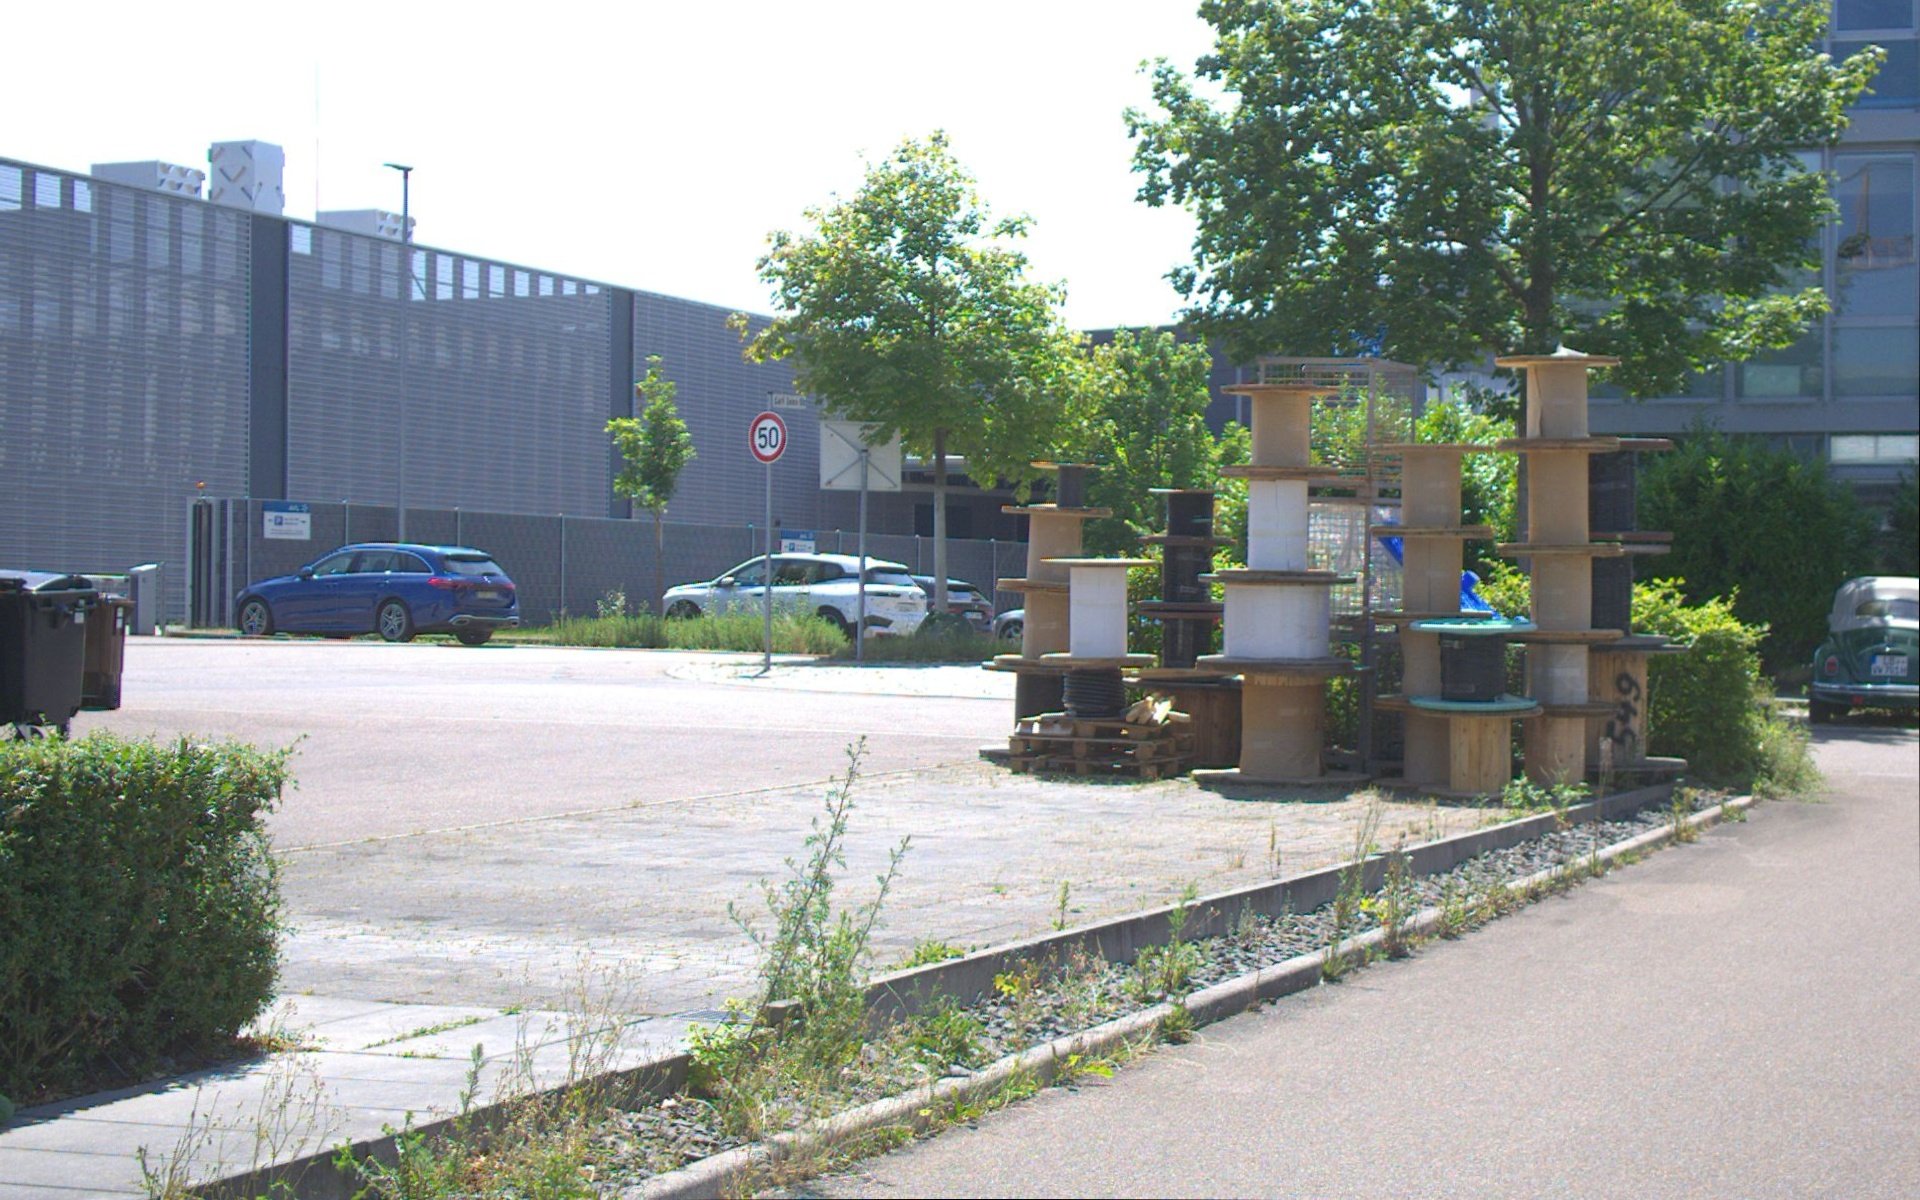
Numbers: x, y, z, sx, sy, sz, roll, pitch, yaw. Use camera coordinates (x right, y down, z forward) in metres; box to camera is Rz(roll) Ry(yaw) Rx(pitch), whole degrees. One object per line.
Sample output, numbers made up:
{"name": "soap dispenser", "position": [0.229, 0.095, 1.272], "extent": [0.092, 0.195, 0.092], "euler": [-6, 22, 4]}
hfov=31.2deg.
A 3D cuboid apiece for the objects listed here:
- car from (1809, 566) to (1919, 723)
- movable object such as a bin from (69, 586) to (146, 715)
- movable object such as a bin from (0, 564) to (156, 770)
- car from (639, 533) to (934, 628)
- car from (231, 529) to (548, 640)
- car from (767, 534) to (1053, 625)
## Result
{"name": "car", "position": [9.572, 0.416, 34.746], "extent": [1.543, 1.444, 3.650], "euler": [2, 2, 19]}
{"name": "movable object such as a bin", "position": [-6.904, 0.405, 27.851], "extent": [0.576, 1.033, 0.426], "euler": [1, 0, -12]}
{"name": "movable object such as a bin", "position": [-6.010, 0.436, 23.046], "extent": [0.812, 1.340, 0.883], "euler": [1, 0, 27]}
{"name": "car", "position": [-2.998, -0.356, 58.985], "extent": [4.849, 1.486, 1.996], "euler": [2, 2, 35]}
{"name": "car", "position": [-8.443, -0.257, 50.767], "extent": [4.509, 1.486, 1.996], "euler": [2, 2, 35]}
{"name": "car", "position": [-0.919, -0.391, 61.249], "extent": [4.849, 1.486, 1.996], "euler": [2, 2, 35]}
